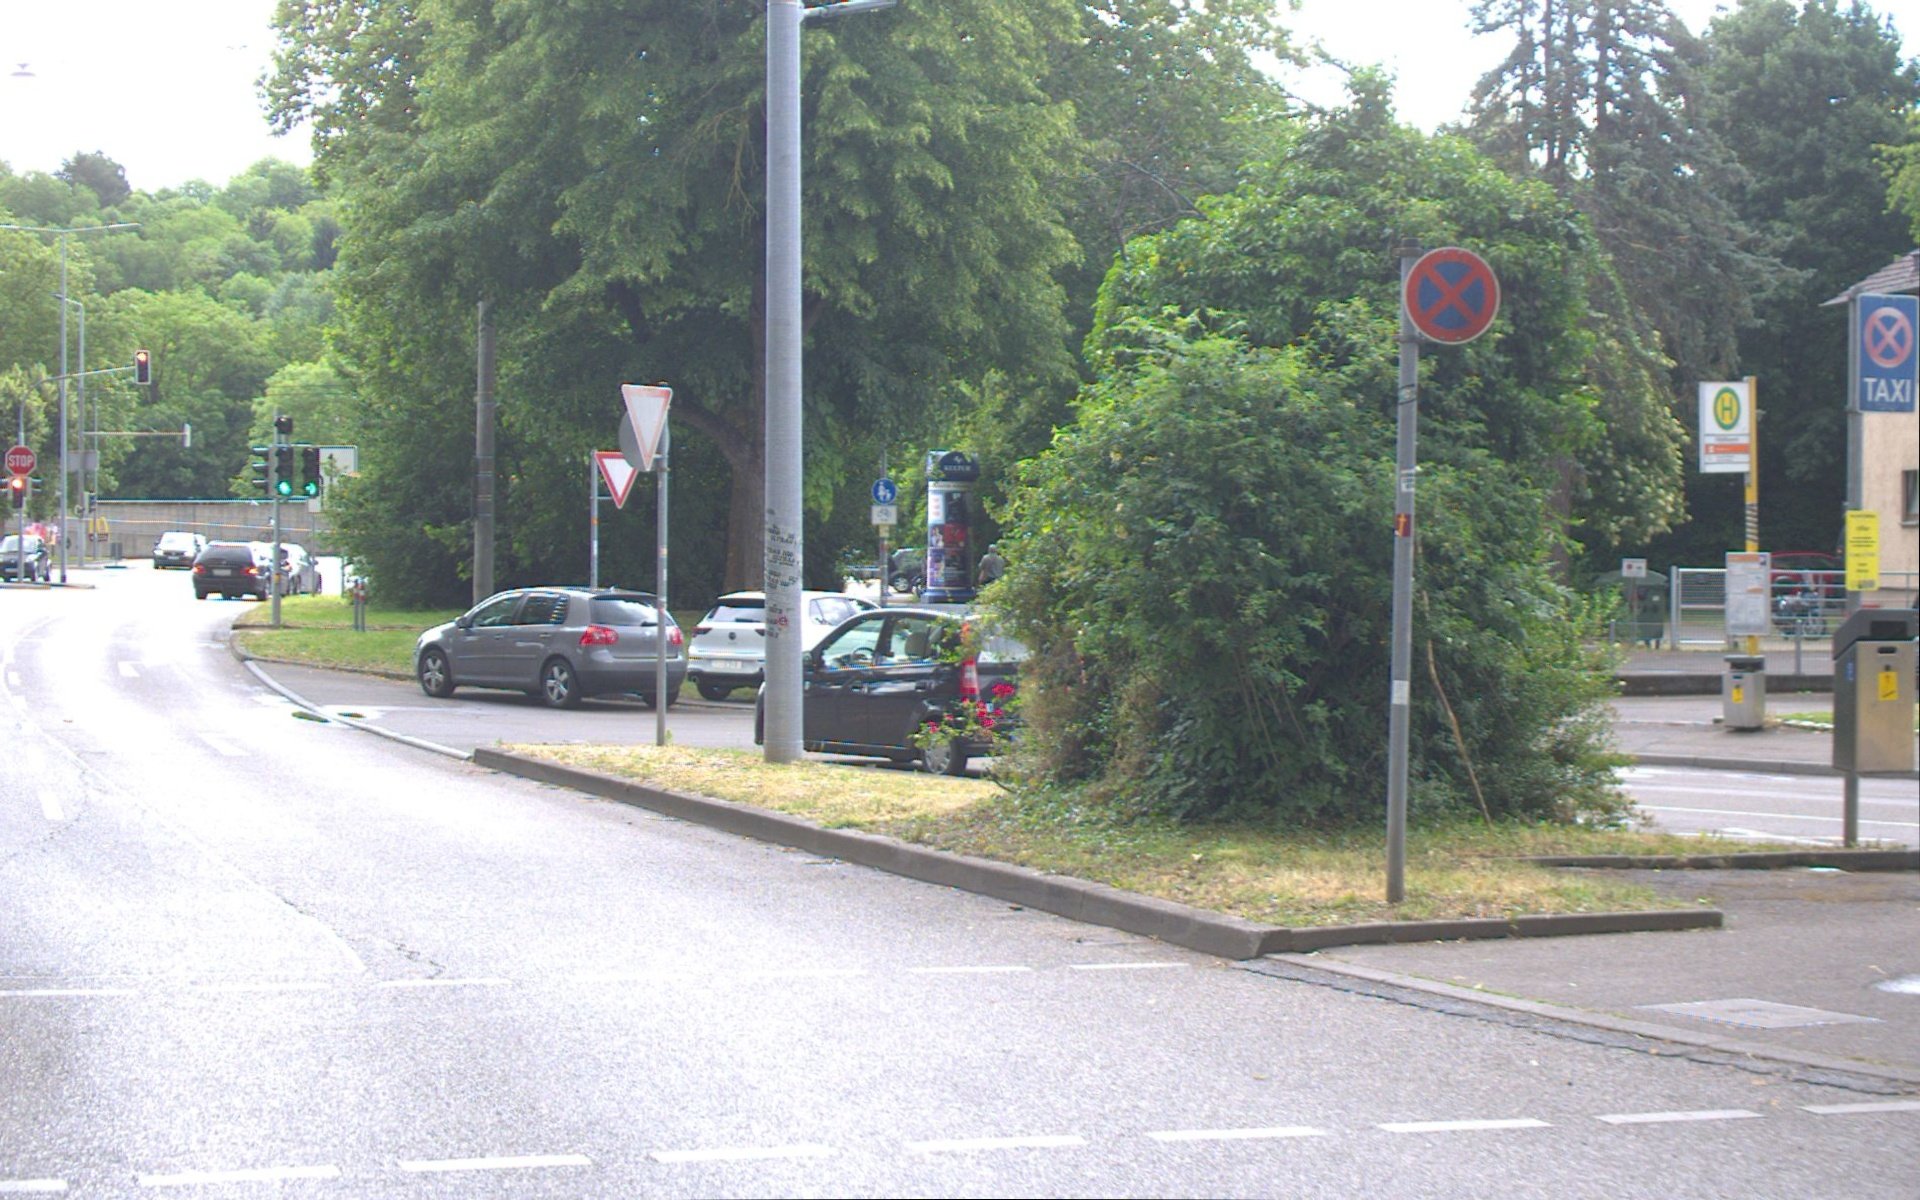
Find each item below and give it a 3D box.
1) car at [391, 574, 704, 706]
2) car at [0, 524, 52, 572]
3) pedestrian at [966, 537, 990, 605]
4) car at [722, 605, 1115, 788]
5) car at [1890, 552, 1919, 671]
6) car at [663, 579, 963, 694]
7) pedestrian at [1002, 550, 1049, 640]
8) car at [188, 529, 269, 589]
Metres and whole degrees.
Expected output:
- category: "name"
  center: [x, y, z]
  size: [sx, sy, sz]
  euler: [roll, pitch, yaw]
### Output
- category: "car"
  center: [-5.216, 0.460, 43.178]
  size: [1.729, 1.424, 4.110]
  euler: [-1, 3, -45]
- category: "car"
  center: [-31.778, -1.775, 116.019]
  size: [1.568, 1.521, 3.190]
  euler: [0, 2, -3]
- category: "pedestrian"
  center: [0.402, -0.657, 78.089]
  size: [0.510, 1.526, 0.778]
  euler: [1, 1, -1]
- category: "car"
  center: [-0.414, 0.798, 30.140]
  size: [1.569, 1.399, 3.493]
  euler: [-1, 2, -40]
- category: "car"
  center: [14.868, 0.142, 47.775]
  size: [3.413, 1.625, 1.625]
  euler: [0, 1, -3]
- category: "car"
  center: [-1.876, 0.442, 45.112]
  size: [1.762, 1.376, 4.253]
  euler: [1, 1, 33]
- category: "pedestrian"
  center: [1.148, -0.092, 60.126]
  size: [0.683, 1.546, 0.743]
  euler: [0, 1, -10]
- category: "car"
  center: [-18.702, -1.052, 88.029]
  size: [1.822, 1.504, 4.575]
  euler: [0, 1, -10]
